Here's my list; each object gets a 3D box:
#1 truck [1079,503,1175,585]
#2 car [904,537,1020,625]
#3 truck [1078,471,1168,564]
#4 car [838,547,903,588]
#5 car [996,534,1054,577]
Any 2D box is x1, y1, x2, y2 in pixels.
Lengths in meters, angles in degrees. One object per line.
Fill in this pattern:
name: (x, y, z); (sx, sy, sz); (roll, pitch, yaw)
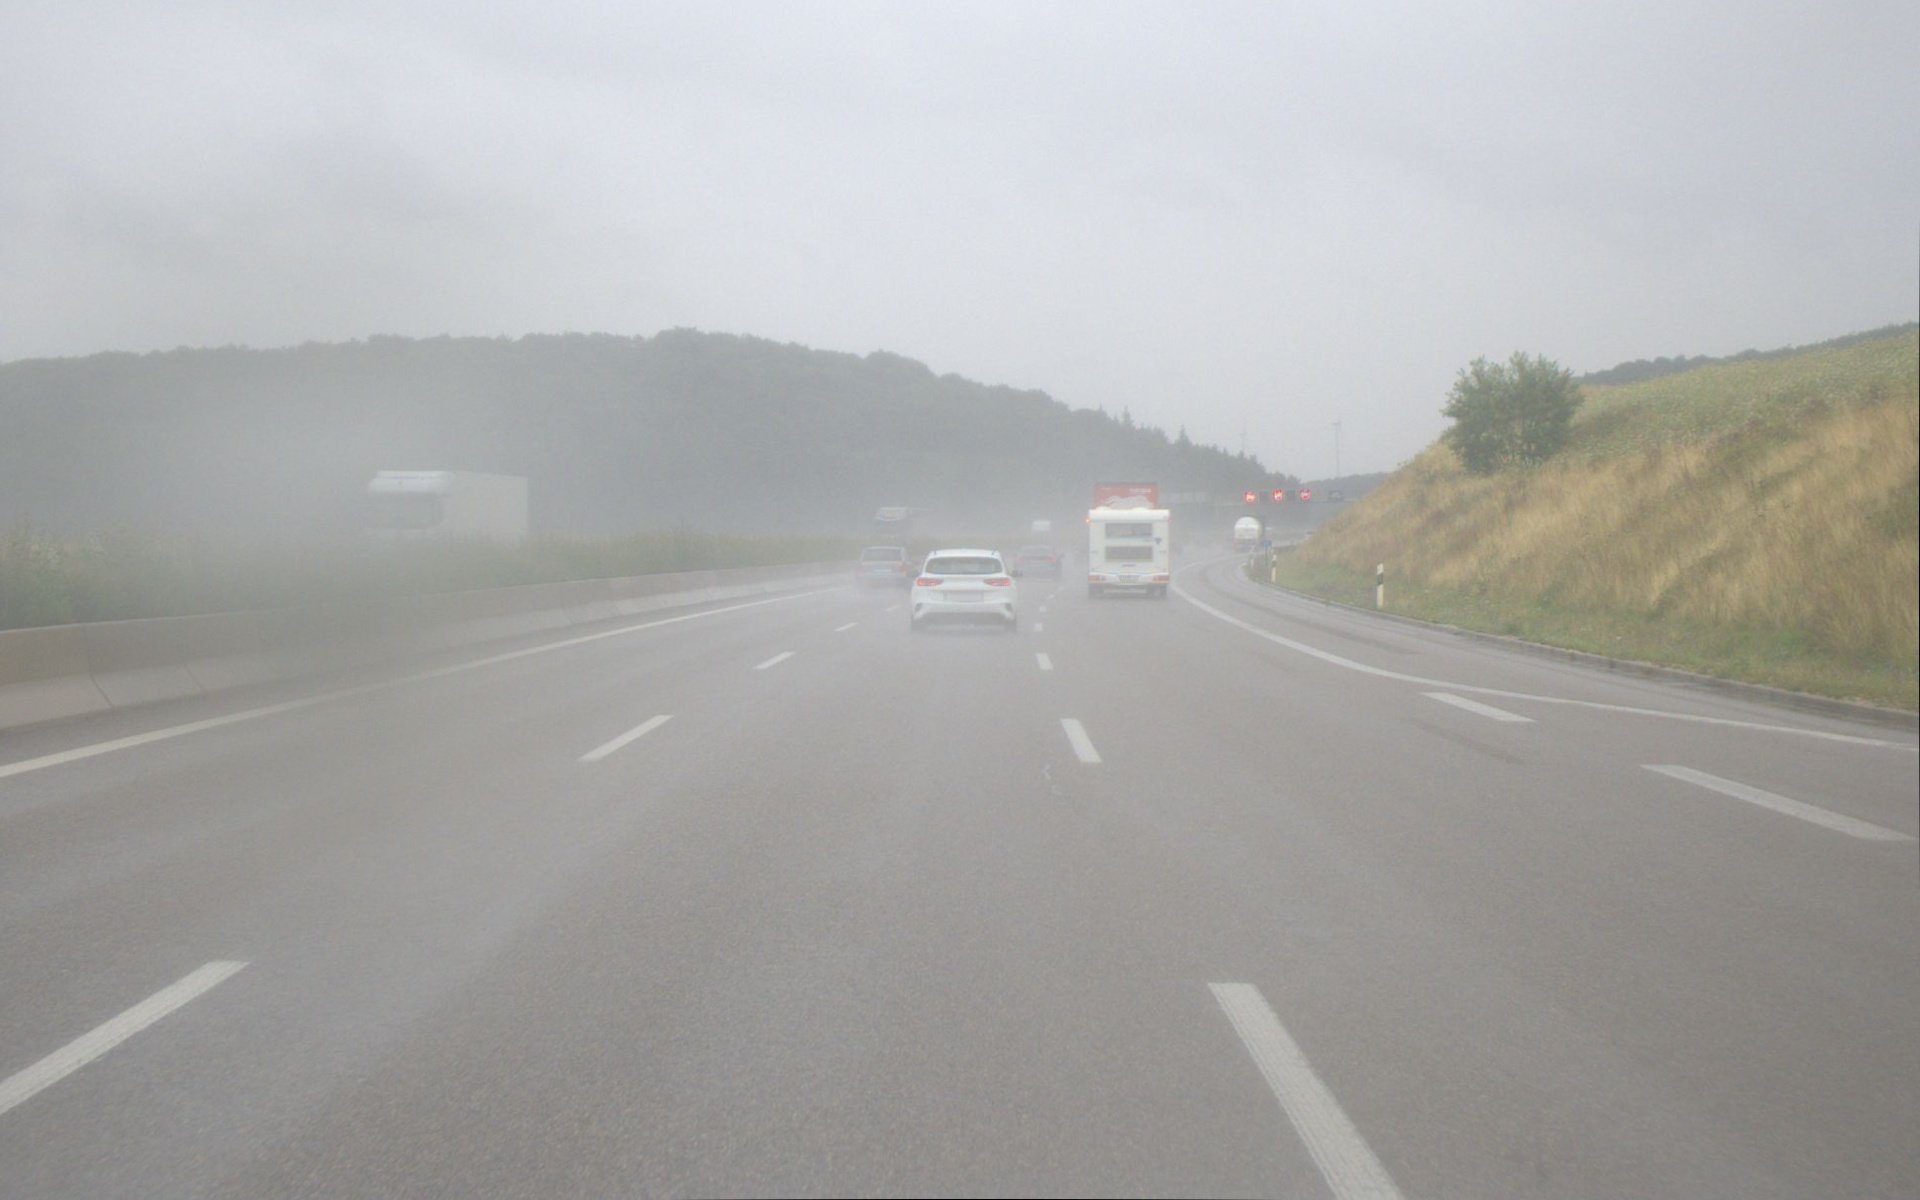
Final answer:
truck: (4.657, -1.578, 96.628); (2.408, 2.244, 4.693); (0, 1, -1)
car: (-0.006, -0.320, 59.124); (1.867, 1.458, 4.000); (0, 0, -2)
truck: (6.791, -3.511, 144.715); (3.527, 3.730, 11.426); (1, 2, 1)
car: (-2.696, -0.946, 102.866); (1.823, 1.152, 4.213); (1, 0, -3)
car: (2.489, -1.733, 132.251); (1.993, 1.612, 4.001); (0, 1, -3)
